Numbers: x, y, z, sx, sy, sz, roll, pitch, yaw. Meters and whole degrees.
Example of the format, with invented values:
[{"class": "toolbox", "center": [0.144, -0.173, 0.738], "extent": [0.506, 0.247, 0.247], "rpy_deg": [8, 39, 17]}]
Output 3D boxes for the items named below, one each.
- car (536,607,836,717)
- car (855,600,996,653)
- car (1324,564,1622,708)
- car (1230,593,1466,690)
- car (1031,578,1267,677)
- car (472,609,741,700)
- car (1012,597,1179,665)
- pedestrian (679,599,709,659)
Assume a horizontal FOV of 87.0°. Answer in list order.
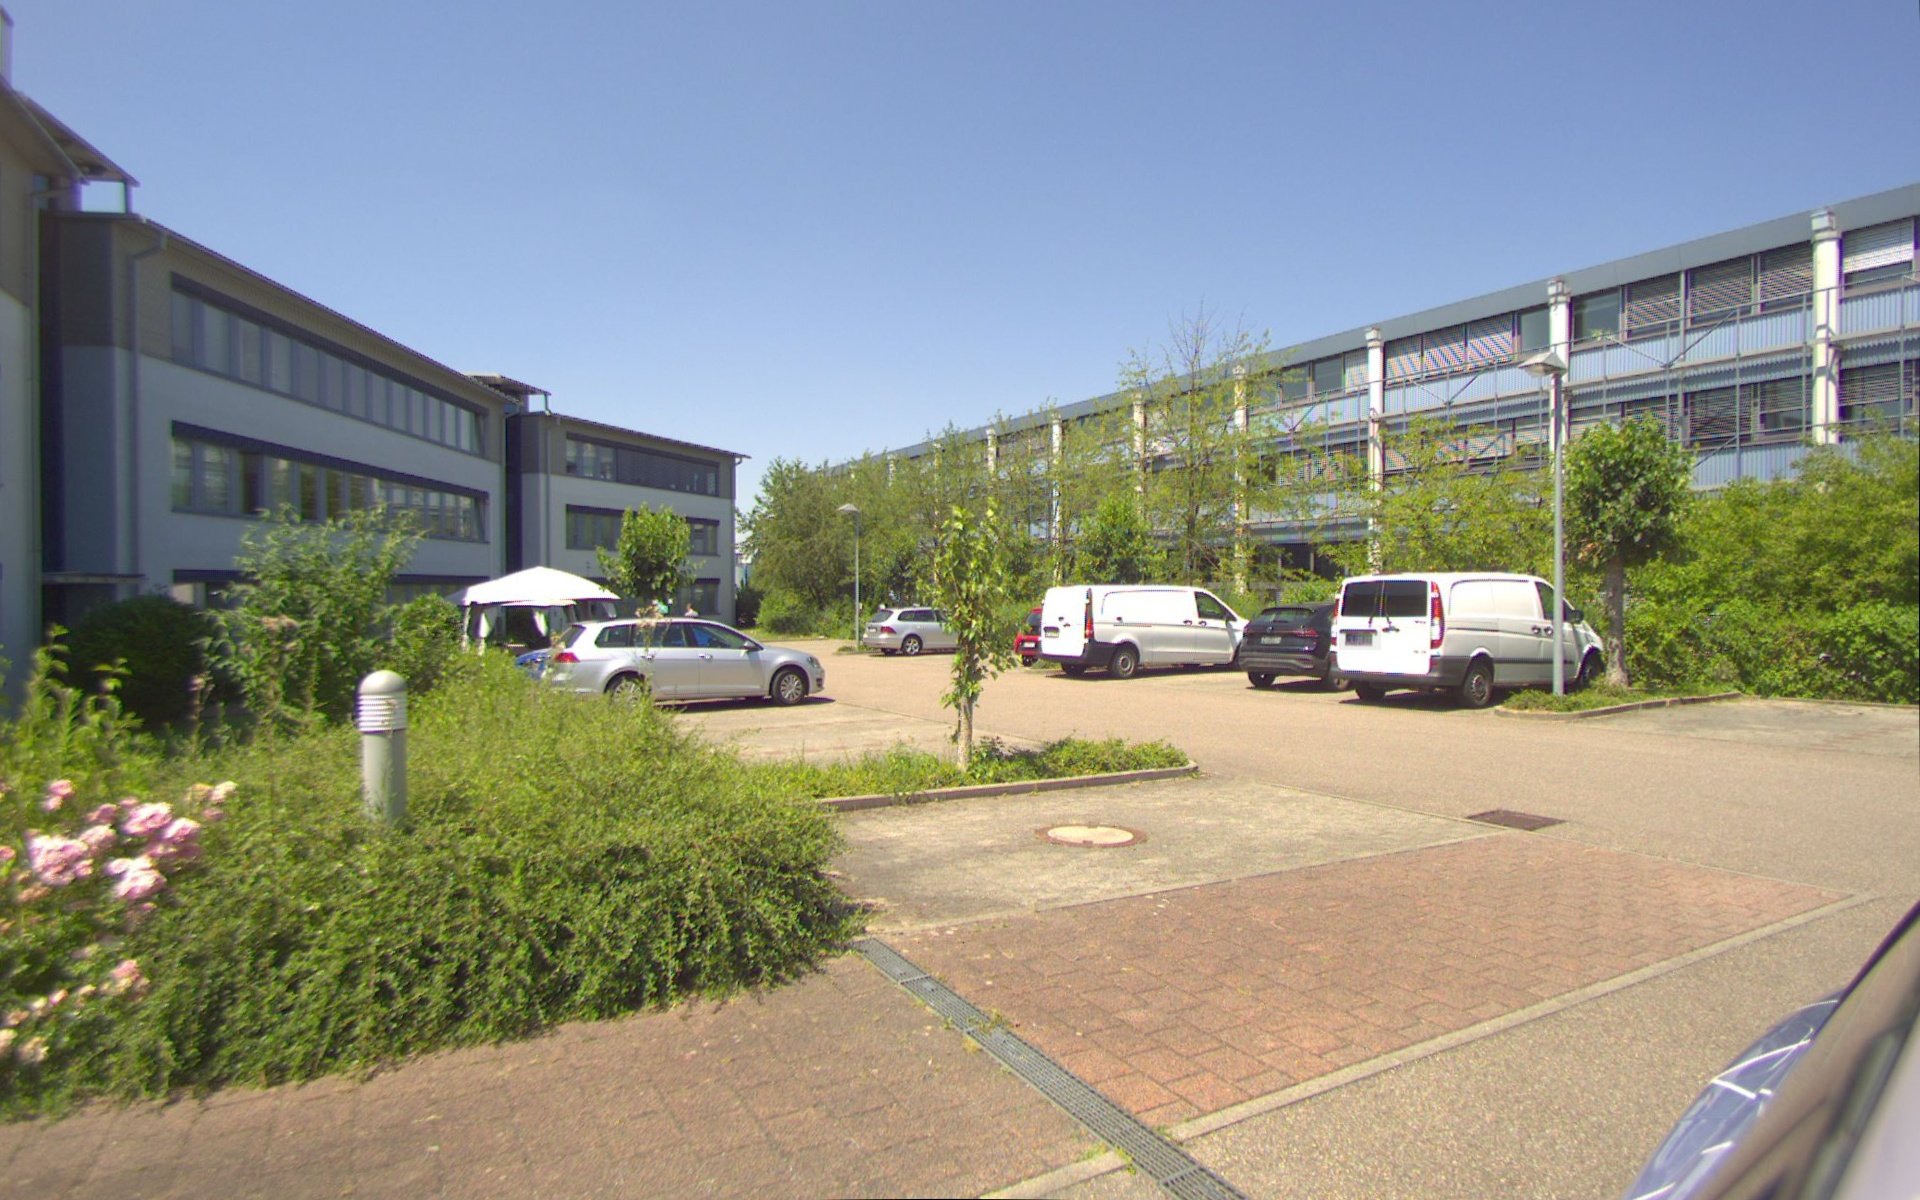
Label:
[{"class": "car", "center": [-4.383, 0.897, 16.353], "extent": [4.340, 1.539, 1.858], "rpy_deg": [0, -1, -31]}, {"class": "car", "center": [-1.046, 0.779, 31.355], "extent": [4.002, 1.503, 1.741], "rpy_deg": [-1, -1, -28]}, {"class": "car", "center": [7.801, 0.449, 15.279], "extent": [4.585, 1.884, 1.869], "rpy_deg": [-1, -1, -32]}, {"class": "car", "center": [6.913, 0.660, 17.926], "extent": [4.115, 1.503, 1.740], "rpy_deg": [-1, -1, -32]}, {"class": "car", "center": [4.065, 0.518, 21.549], "extent": [4.836, 1.879, 1.858], "rpy_deg": [-1, 0, -29]}, {"class": "car", "center": [-6.646, 0.953, 19.164], "extent": [4.521, 1.513, 1.858], "rpy_deg": [0, -1, -31]}, {"class": "car", "center": [3.336, 0.716, 24.872], "extent": [3.842, 1.507, 1.626], "rpy_deg": [-1, 0, -29]}, {"class": "pedestrian", "center": [-8.097, 0.871, 30.747], "extent": [0.684, 1.779, 0.778], "rpy_deg": [-2, 0, -28]}]
